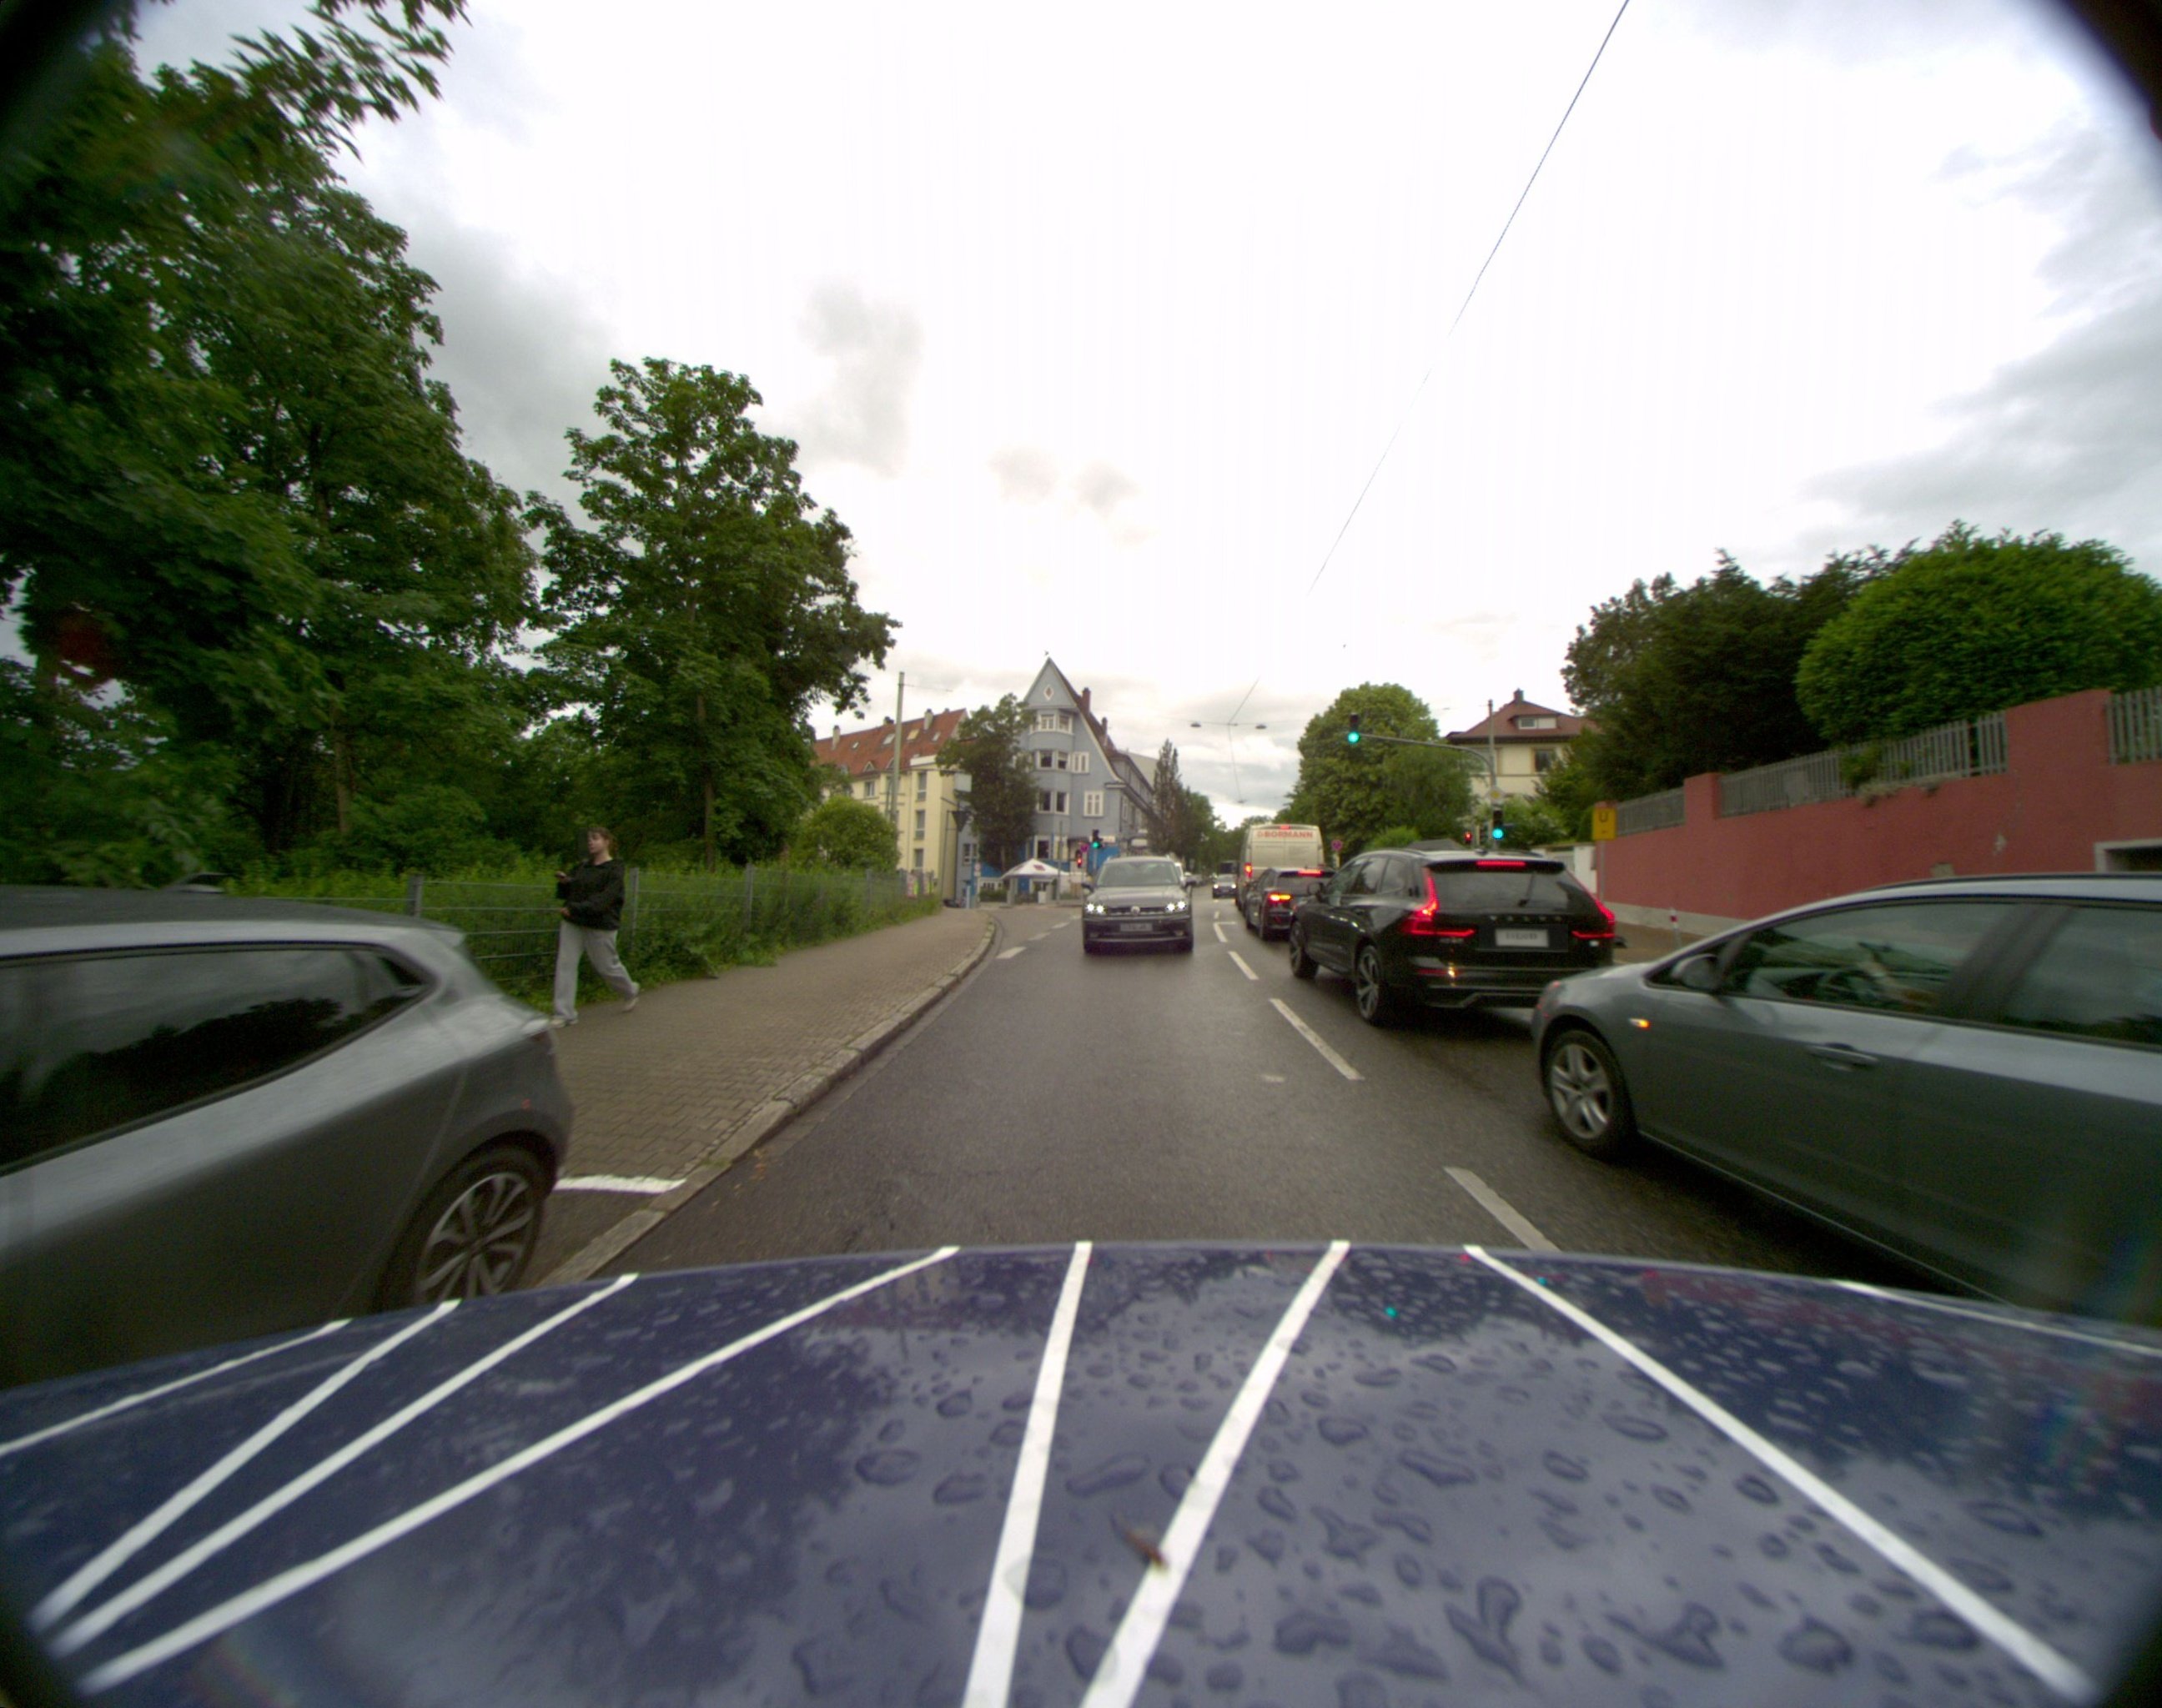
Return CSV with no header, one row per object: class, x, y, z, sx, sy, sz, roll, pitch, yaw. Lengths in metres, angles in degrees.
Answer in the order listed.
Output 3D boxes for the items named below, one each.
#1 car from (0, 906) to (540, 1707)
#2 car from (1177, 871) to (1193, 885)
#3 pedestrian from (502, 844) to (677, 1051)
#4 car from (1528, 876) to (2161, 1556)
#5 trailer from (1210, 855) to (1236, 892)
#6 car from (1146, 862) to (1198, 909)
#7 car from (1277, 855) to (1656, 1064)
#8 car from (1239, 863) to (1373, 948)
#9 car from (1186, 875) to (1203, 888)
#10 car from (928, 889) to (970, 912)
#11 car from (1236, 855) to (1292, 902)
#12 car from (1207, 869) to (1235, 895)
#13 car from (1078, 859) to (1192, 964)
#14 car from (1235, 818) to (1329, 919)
car,-2.829,0.957,0.789,1.653,1.396,3.813,5,1,2
car,11.017,2.568,80.651,1.589,1.403,3.460,2,-1,9
pedestrian,-4.135,0.739,6.473,0.767,1.596,0.966,3,0,4
car,3.388,0.877,2.151,1.778,1.488,4.263,0,0,1
trailer,10.461,1.393,55.816,1.769,2.610,3.036,-1,0,13
car,3.473,1.120,28.579,1.784,1.631,4.203,1,0,9
car,3.548,0.819,8.147,1.879,1.565,4.587,1,0,3
car,4.382,0.937,15.403,1.818,1.421,4.002,1,0,5
car,14.170,3.406,94.647,1.817,1.451,4.746,1,-1,11
car,-9.982,3.497,57.528,1.636,1.488,3.148,-6,-3,22
car,6.885,0.938,28.976,1.824,1.642,4.351,-1,-2,10
car,9.725,1.901,52.652,1.734,1.610,3.479,-1,0,14
car,1.125,0.921,14.080,1.784,1.631,4.203,1,0,8
car,5.668,0.379,22.101,2.121,2.530,5.544,1,0,10
